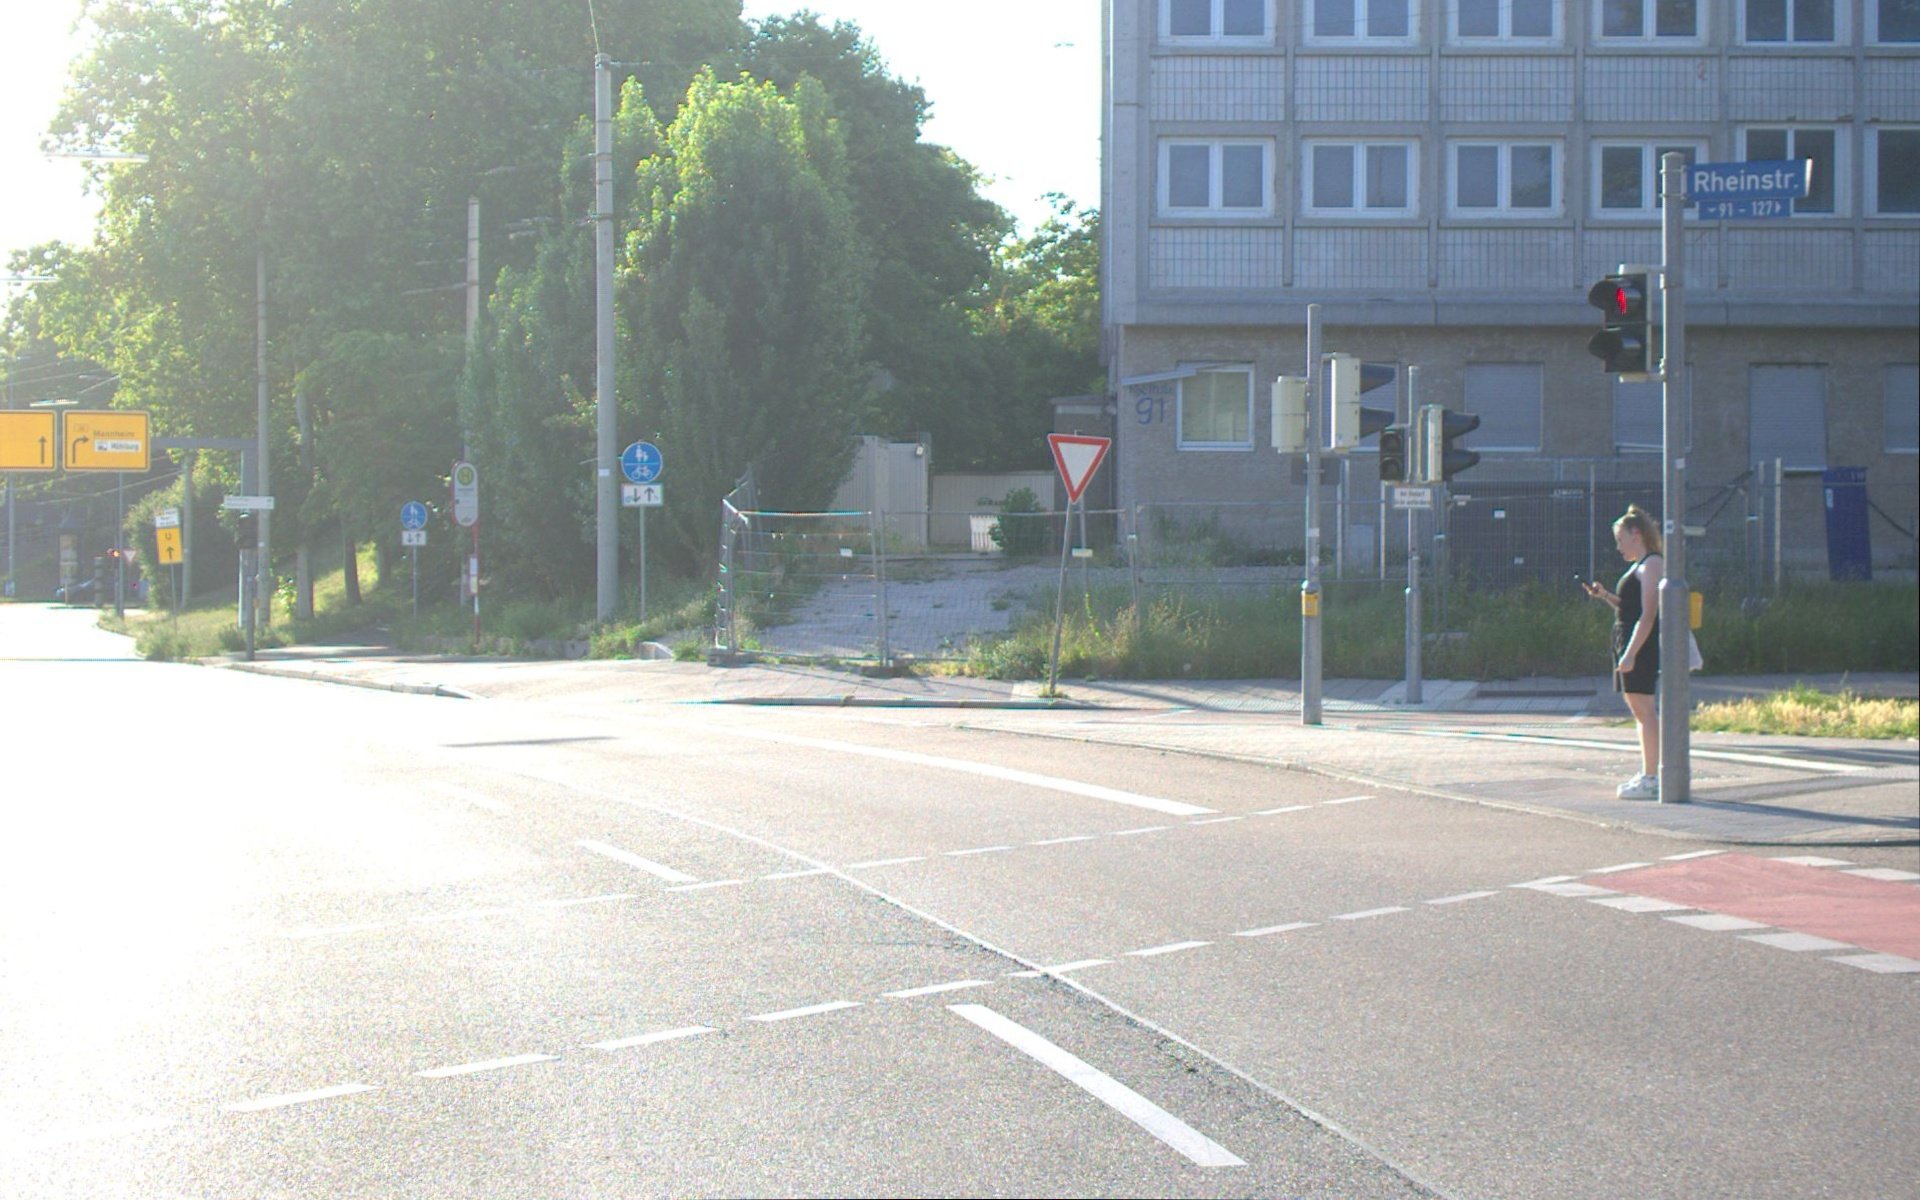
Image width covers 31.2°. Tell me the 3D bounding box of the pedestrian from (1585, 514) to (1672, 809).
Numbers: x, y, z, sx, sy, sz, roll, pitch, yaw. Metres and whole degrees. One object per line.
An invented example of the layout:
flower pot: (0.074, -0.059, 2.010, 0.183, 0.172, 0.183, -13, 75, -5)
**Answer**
pedestrian: (3.716, 0.331, 19.096, 0.436, 1.607, 0.630, -1, 1, 13)
